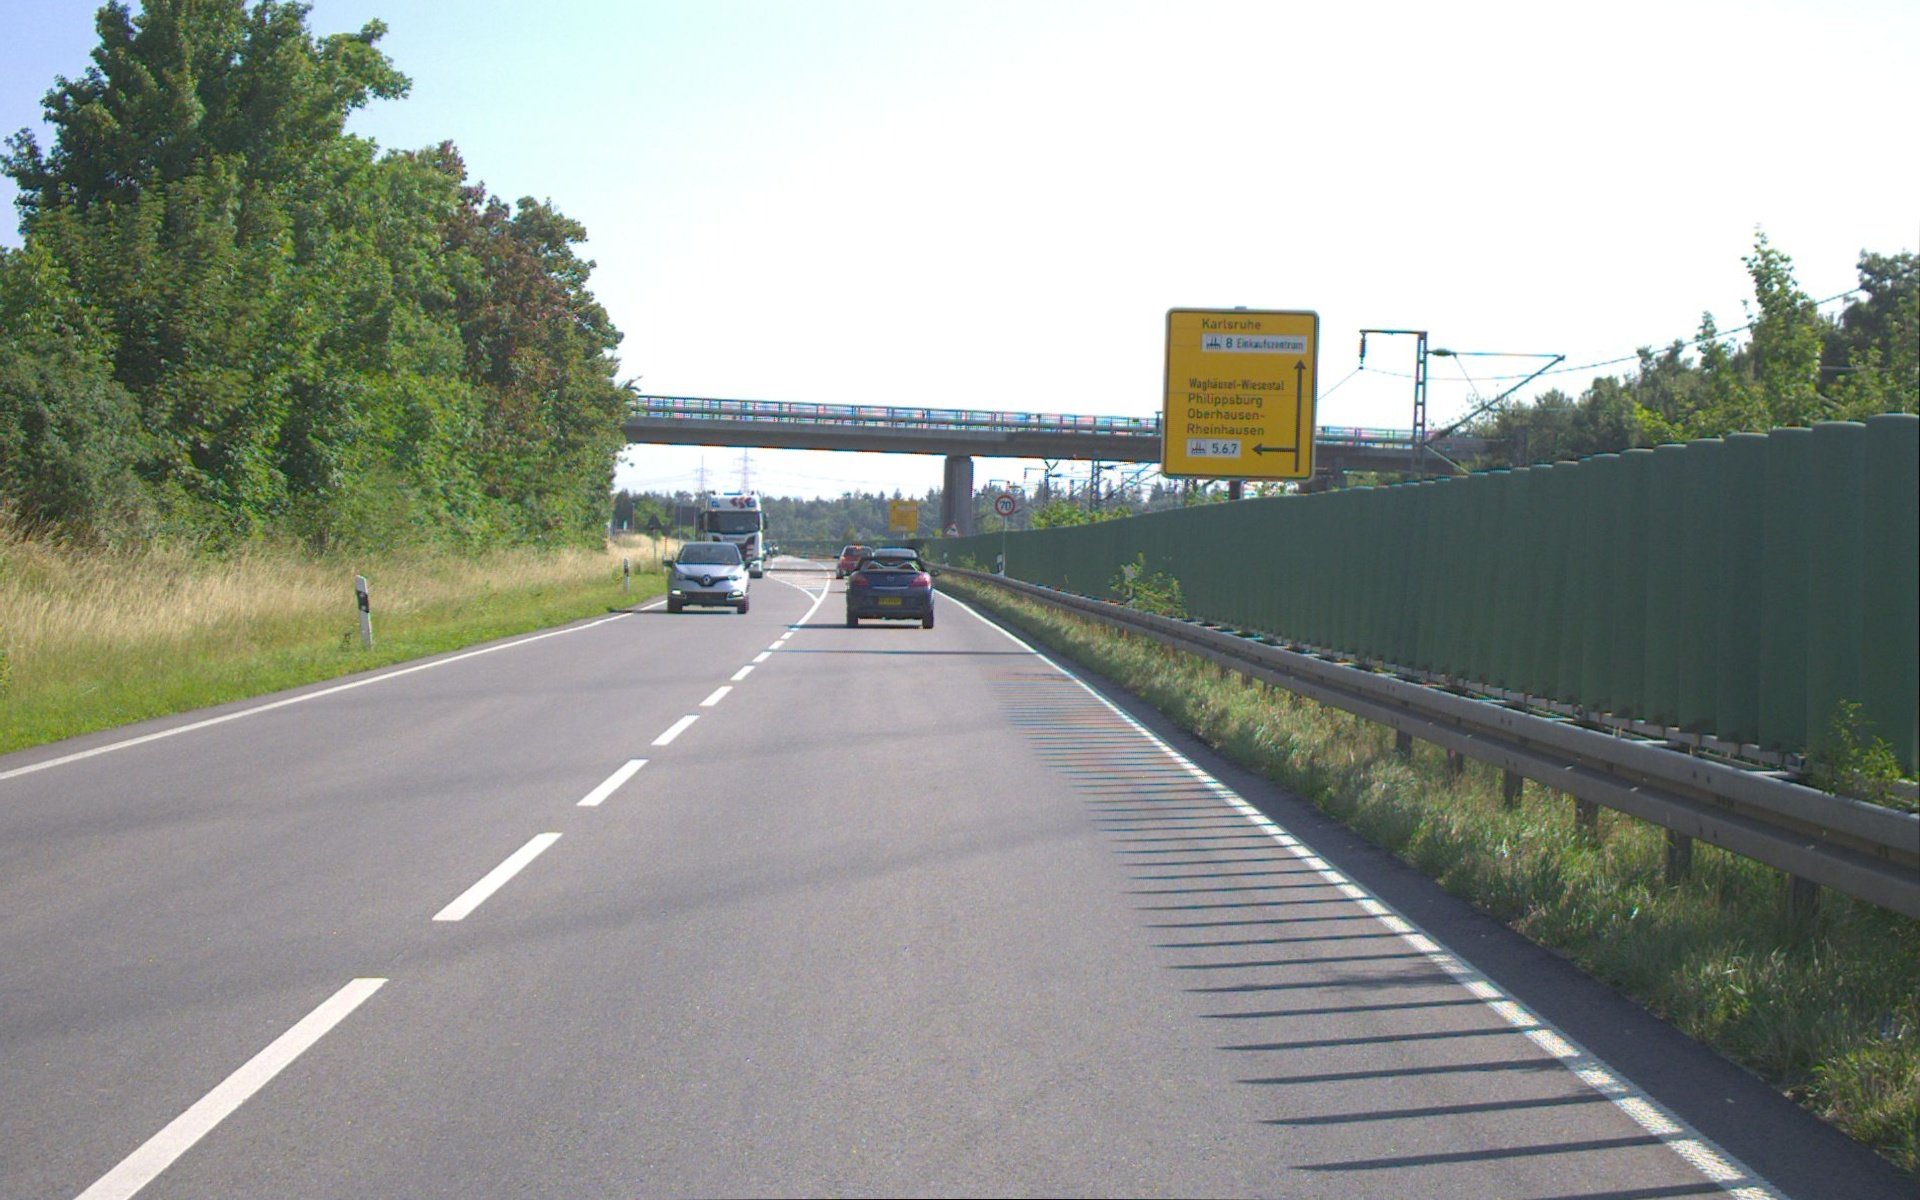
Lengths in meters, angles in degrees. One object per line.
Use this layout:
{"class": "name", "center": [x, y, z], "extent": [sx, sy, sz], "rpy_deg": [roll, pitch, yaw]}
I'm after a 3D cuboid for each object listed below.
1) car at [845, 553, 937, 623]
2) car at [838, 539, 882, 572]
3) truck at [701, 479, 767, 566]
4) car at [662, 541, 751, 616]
{"class": "car", "center": [-1.338, -0.234, 65.193], "extent": [1.663, 1.257, 4.000], "rpy_deg": [1, 1, -2]}
{"class": "car", "center": [-4.476, -1.995, 153.659], "extent": [1.895, 1.413, 4.000], "rpy_deg": [1, 1, -2]}
{"class": "truck", "center": [-9.951, -3.410, 152.183], "extent": [2.559, 3.676, 10.489], "rpy_deg": [1, 1, -2]}
{"class": "car", "center": [-5.634, -0.492, 76.767], "extent": [1.795, 1.588, 4.000], "rpy_deg": [1, 1, -2]}
